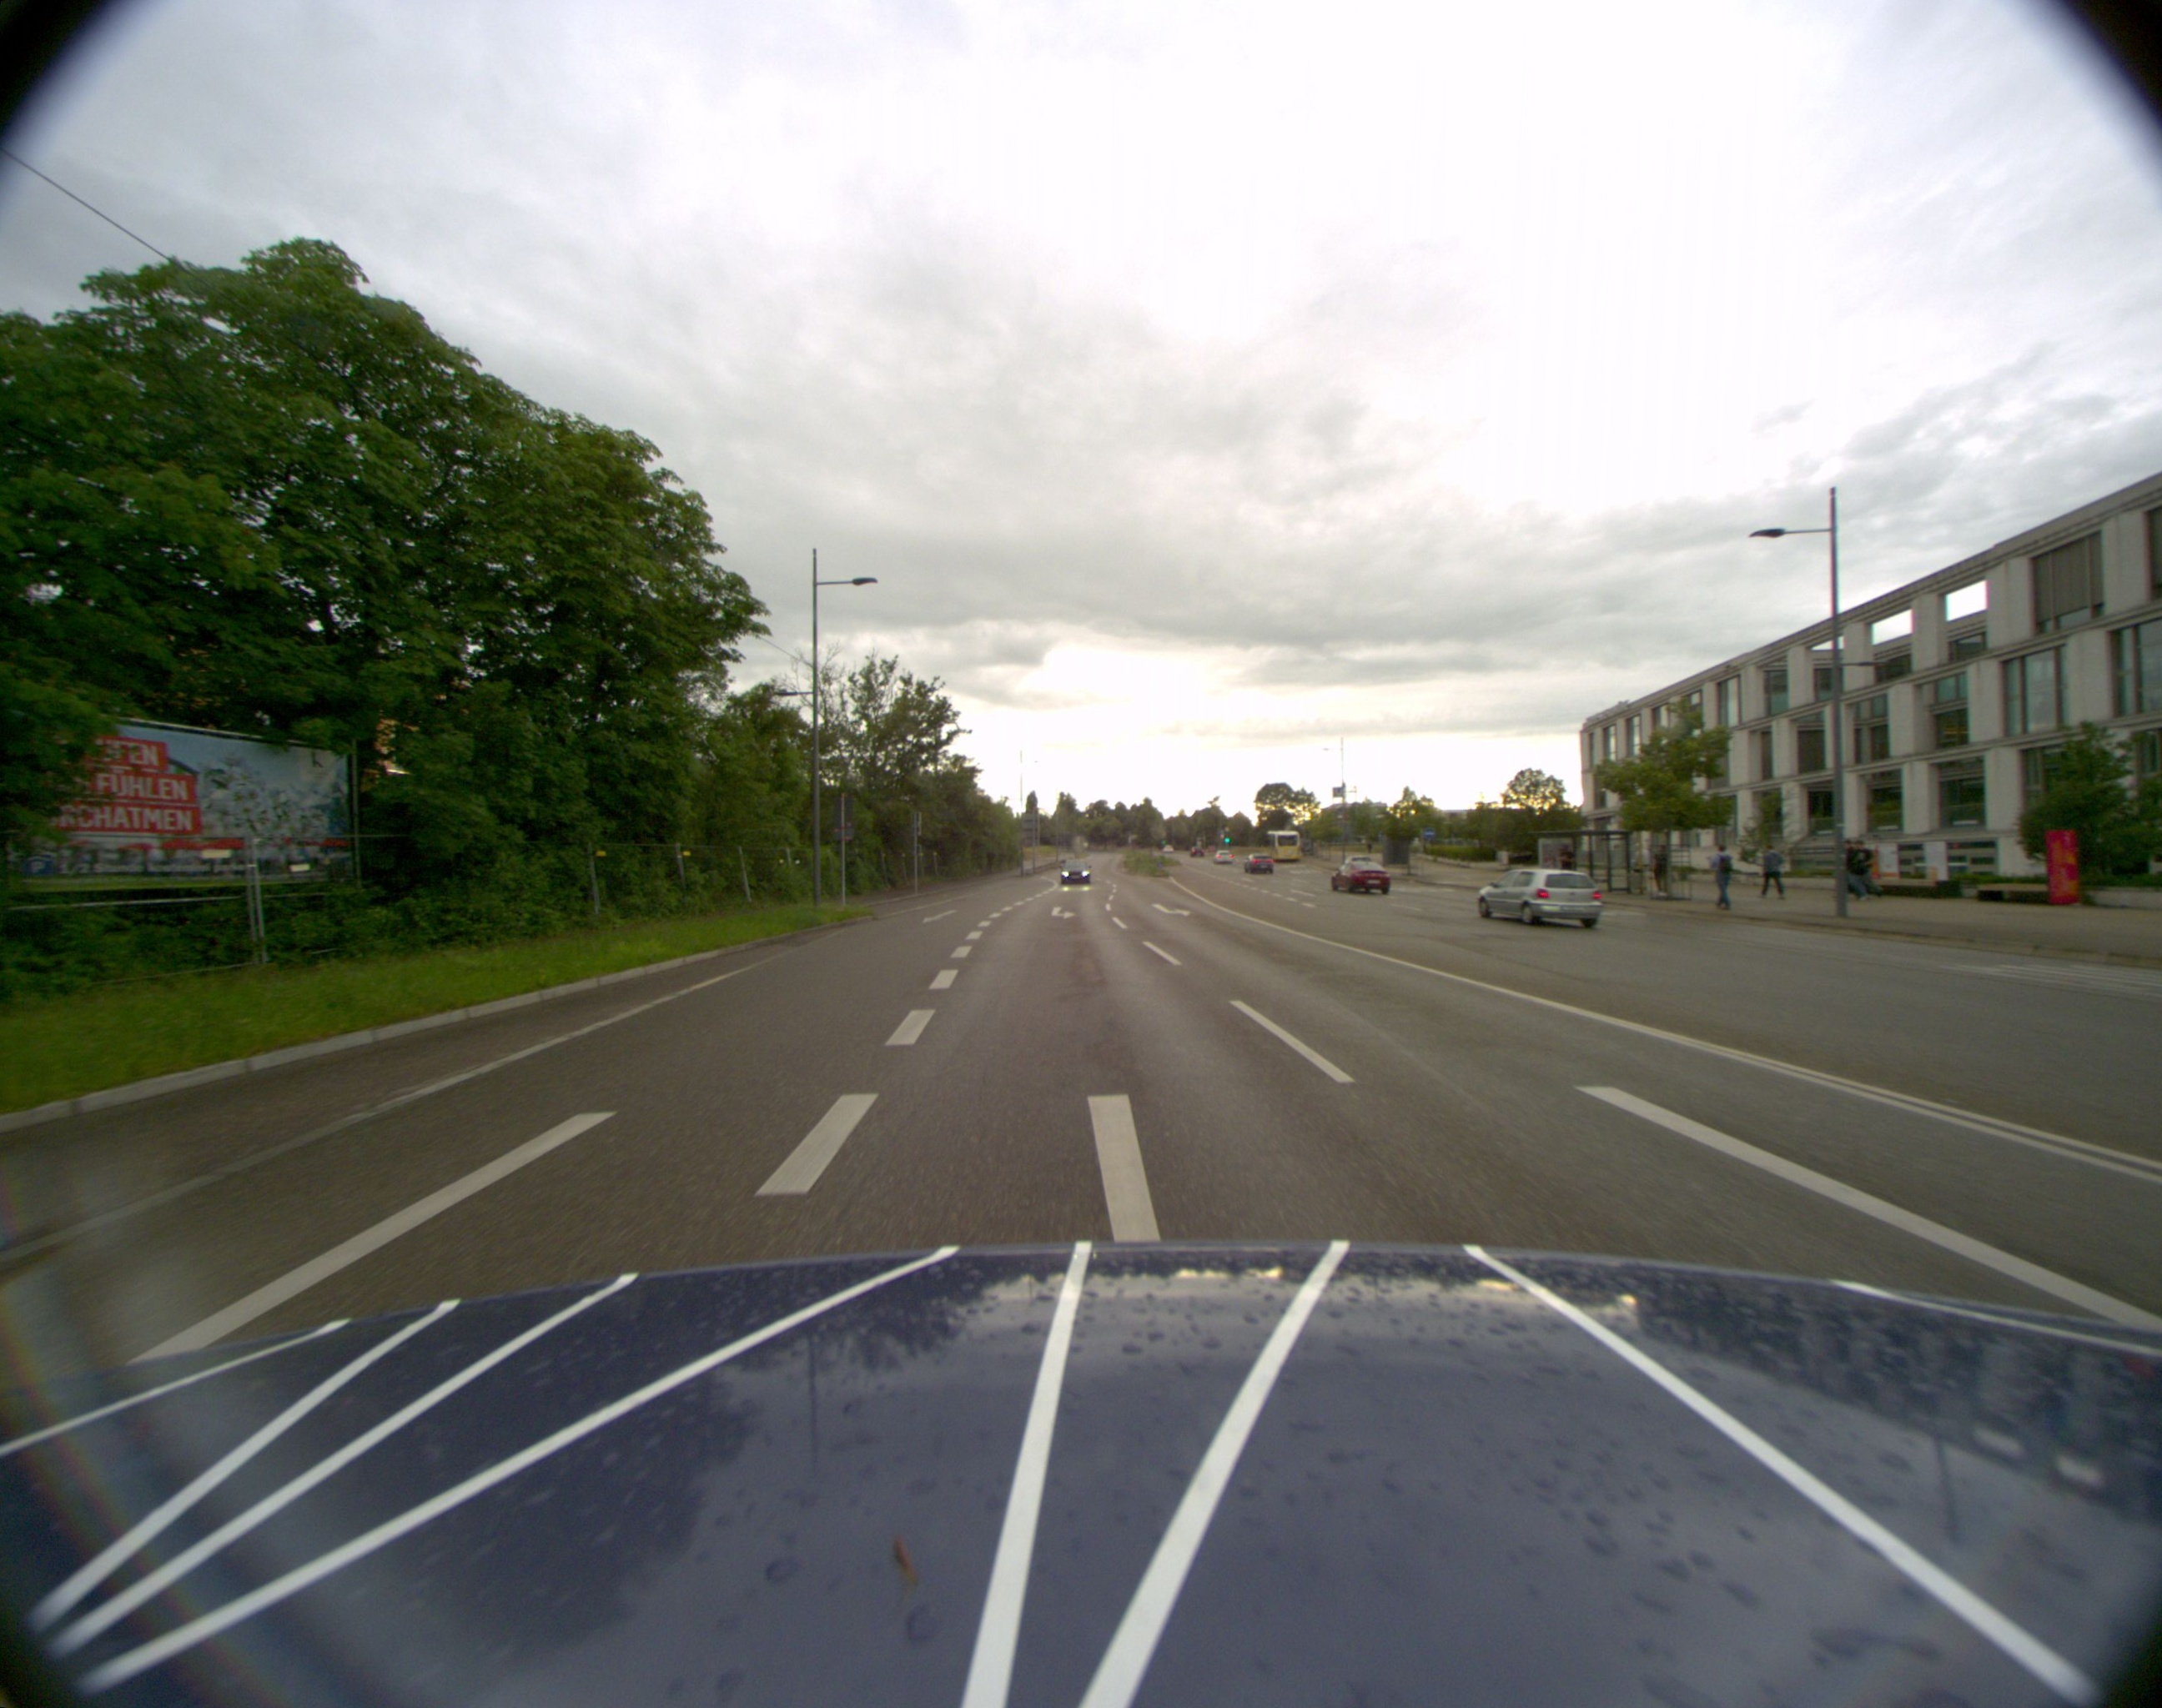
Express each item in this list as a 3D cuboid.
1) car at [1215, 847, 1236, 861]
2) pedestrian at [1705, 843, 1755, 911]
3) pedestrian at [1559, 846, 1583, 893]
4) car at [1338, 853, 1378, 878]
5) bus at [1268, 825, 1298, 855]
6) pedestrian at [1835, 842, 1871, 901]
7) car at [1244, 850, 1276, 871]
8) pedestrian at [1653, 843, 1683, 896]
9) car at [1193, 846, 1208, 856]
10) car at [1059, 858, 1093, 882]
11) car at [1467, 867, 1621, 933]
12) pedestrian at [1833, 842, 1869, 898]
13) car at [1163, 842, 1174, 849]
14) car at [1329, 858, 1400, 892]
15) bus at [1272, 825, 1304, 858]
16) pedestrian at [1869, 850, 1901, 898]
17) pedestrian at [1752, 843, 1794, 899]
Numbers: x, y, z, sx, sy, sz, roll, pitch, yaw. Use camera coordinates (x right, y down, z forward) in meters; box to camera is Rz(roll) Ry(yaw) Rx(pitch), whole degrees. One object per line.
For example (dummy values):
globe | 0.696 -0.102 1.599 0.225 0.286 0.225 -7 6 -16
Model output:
car | 16.446 0.014 86.714 1.877 1.422 4.176 2 1 4
pedestrian | 17.949 0.624 21.024 0.754 1.831 0.747 -1 1 6
pedestrian | 19.615 0.607 30.436 0.508 1.831 0.755 -1 1 3
car | 17.866 0.722 49.131 1.617 1.499 2.973 -2 1 4
bus | 25.165 -1.849 95.123 2.826 3.453 9.979 -2 2 11
pedestrian | 23.011 0.516 22.656 0.427 1.715 0.621 -1 1 4
car | 14.881 0.503 63.297 1.836 1.563 4.594 2 1 4
pedestrian | 20.714 0.540 26.811 0.581 1.845 0.607 -1 1 1
car | 17.712 -0.435 112.345 1.850 1.454 3.867 0 1 4
car | -0.324 0.945 47.426 1.990 1.391 4.176 -1 0 -1
car | 11.824 1.112 19.740 1.766 1.408 3.879 2 0 4
pedestrian | 23.864 0.477 23.555 0.525 1.715 0.566 -1 1 6
car | 17.172 -1.689 149.080 1.998 1.410 4.513 -1 1 4
car | 13.067 0.937 35.312 1.836 1.408 4.466 2 0 4
bus | 23.431 -1.492 86.231 2.826 3.453 8.235 -2 2 11
pedestrian | 24.384 0.601 23.049 0.427 1.443 0.510 -1 1 4
pedestrian | 22.221 0.523 24.399 0.599 1.752 0.857 -1 1 6
